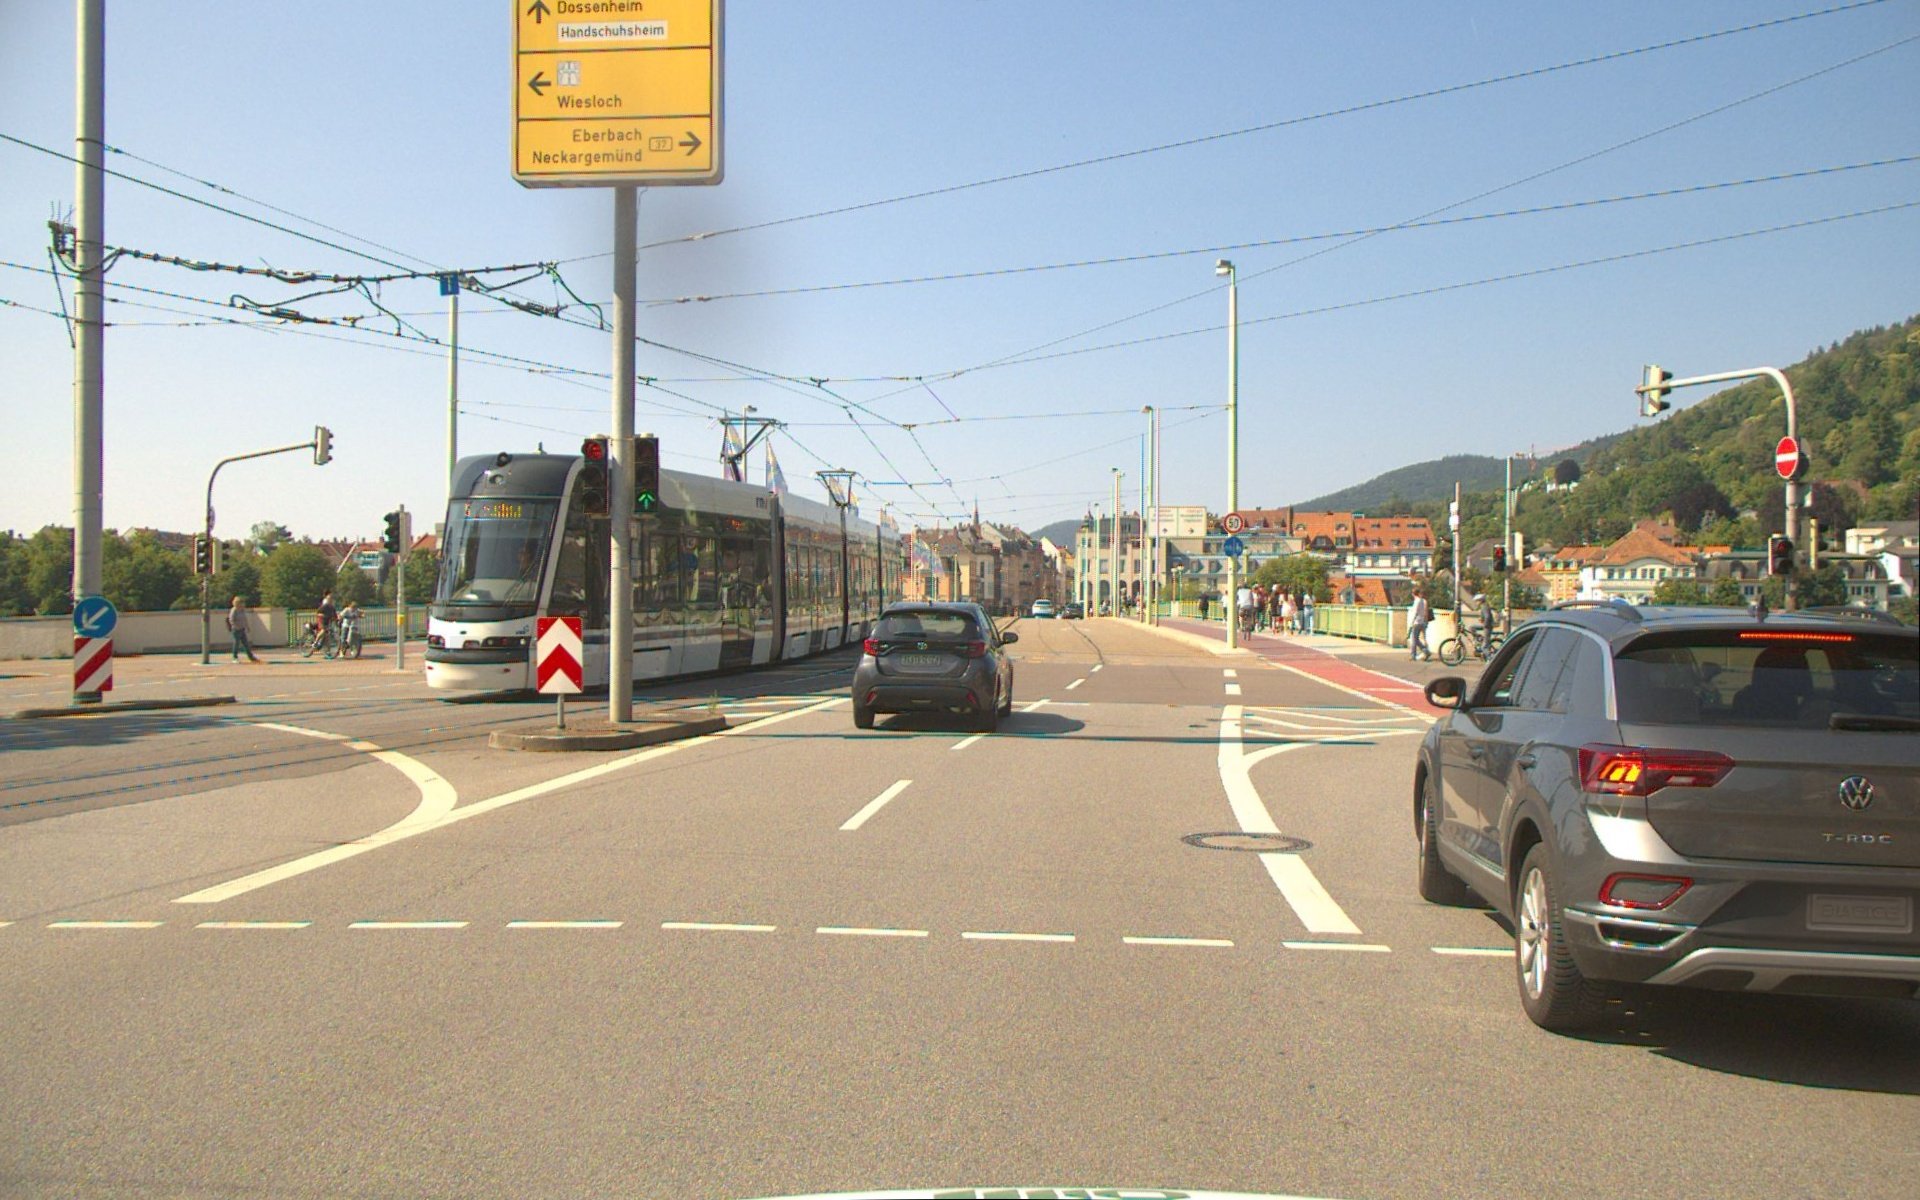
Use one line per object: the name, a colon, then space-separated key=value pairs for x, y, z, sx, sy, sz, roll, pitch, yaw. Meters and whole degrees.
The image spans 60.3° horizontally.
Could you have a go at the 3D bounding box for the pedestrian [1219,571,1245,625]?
pedestrian: x=10.459 y=-0.082 z=63.699 sx=0.787 sy=2.049 sz=0.954 roll=1 pitch=-1 yaw=-3

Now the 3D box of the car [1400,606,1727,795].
car: x=5.758 y=0.869 z=16.383 sx=1.951 sy=1.516 sz=4.287 roll=2 pitch=0 yaw=5

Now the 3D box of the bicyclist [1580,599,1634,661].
bicyclist: x=16.414 y=0.747 z=41.952 sx=1.057 sy=1.499 sz=0.929 roll=2 pitch=0 yaw=9

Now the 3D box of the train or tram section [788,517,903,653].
train or tram section: x=-3.442 y=-0.464 z=52.626 sx=2.418 sy=3.843 sz=11.853 roll=0 pitch=0 yaw=2

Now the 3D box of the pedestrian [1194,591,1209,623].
pedestrian: x=13.895 y=0.398 z=95.323 sx=0.642 sy=1.774 sz=0.977 roll=1 pitch=1 yaw=-5

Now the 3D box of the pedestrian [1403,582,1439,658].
pedestrian: x=11.623 y=0.499 z=41.700 sx=0.757 sy=1.888 sz=0.645 roll=1 pitch=0 yaw=5

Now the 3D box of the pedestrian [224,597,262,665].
pedestrian: x=-18.320 y=0.779 z=42.265 sx=0.824 sy=1.727 sz=1.088 roll=0 pitch=0 yaw=-27

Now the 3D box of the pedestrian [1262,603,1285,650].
pedestrian: x=11.346 y=0.959 z=59.901 sx=0.641 sy=1.679 sz=0.868 roll=1 pitch=-1 yaw=-1

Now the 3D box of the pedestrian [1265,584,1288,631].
pedestrian: x=11.933 y=0.272 z=62.285 sx=0.682 sy=1.746 sz=0.731 roll=1 pitch=-1 yaw=-3

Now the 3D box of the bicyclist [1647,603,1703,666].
bicyclist: x=17.807 y=0.843 z=41.230 sx=1.057 sy=1.499 sz=0.929 roll=2 pitch=0 yaw=11

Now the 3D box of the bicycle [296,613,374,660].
bicycle: x=-16.928 y=0.984 z=44.828 sx=1.939 sy=1.230 sz=0.636 roll=0 pitch=0 yaw=-20

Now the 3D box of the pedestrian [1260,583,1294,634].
pedestrian: x=11.034 y=0.299 z=57.522 sx=0.965 sy=1.781 sz=0.929 roll=1 pitch=-1 yaw=-3

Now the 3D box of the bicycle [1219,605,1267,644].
bicycle: x=9.007 y=0.756 z=52.887 sx=0.776 sy=1.115 sz=3.743 roll=-1 pitch=1 yaw=-2

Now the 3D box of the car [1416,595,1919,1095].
car: x=3.235 y=0.774 z=7.141 sx=1.888 sy=1.542 sz=3.996 roll=1 pitch=0 yaw=7

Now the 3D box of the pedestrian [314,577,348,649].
pedestrian: x=-18.253 y=0.376 z=48.043 sx=0.885 sy=2.049 sz=0.830 roll=0 pitch=0 yaw=-19

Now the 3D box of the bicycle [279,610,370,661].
bicycle: x=-16.850 y=0.930 z=43.909 sx=2.203 sy=1.301 sz=0.736 roll=0 pitch=0 yaw=-20

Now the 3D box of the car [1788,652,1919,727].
car: x=19.740 y=1.820 z=34.266 sx=4.387 sy=1.420 sz=1.844 roll=0 pitch=0 yaw=-8

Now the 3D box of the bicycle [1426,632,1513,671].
bicycle: x=12.245 y=1.237 z=39.801 sx=1.897 sy=0.841 sz=0.566 roll=2 pitch=0 yaw=7

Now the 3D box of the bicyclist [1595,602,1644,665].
bicyclist: x=16.343 y=0.818 z=40.980 sx=1.058 sy=1.499 sz=0.761 roll=2 pitch=0 yaw=26

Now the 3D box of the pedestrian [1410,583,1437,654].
pedestrian: x=11.801 y=0.474 z=42.129 sx=0.522 sy=1.791 sz=0.577 roll=1 pitch=0 yaw=5

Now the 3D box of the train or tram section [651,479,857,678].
train or tram section: x=-4.300 y=-0.455 z=36.732 sx=2.483 sy=3.843 sz=9.176 roll=0 pitch=0 yaw=6

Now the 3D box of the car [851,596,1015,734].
car: x=-0.282 y=0.737 z=20.848 sx=1.870 sy=1.567 sz=4.000 roll=0 pitch=0 yaw=1

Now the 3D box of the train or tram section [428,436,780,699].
train or tram section: x=-5.787 y=-0.499 z=28.999 sx=2.483 sy=3.843 sz=9.177 roll=0 pitch=0 yaw=12

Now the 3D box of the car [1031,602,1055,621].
car: x=6.832 y=0.928 z=136.390 sx=1.767 sy=1.495 sz=3.999 roll=-1 pitch=-1 yaw=0

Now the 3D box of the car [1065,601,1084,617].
car: x=11.292 y=0.914 z=163.281 sx=1.766 sy=1.495 sz=4.002 roll=-1 pitch=-1 yaw=5

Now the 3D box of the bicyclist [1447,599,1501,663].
bicyclist: x=12.363 y=0.733 z=39.791 sx=1.057 sy=1.499 sz=0.801 roll=2 pitch=0 yaw=7

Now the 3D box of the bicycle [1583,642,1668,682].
bicycle: x=16.460 y=1.523 z=40.937 sx=1.901 sy=0.868 sz=0.565 roll=2 pitch=0 yaw=26

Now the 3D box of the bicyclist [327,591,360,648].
bicyclist: x=-16.731 y=0.515 z=44.895 sx=0.811 sy=1.519 sz=0.871 roll=0 pitch=0 yaw=-19

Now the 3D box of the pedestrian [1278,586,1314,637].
pedestrian: x=12.081 y=0.420 z=59.462 sx=0.965 sy=1.800 sz=1.253 roll=0 pitch=0 yaw=-3

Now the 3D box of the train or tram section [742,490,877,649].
train or tram section: x=-3.794 y=-0.748 z=43.792 sx=2.354 sy=3.745 sz=9.622 roll=0 pitch=0 yaw=2

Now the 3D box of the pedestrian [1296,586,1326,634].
pedestrian: x=12.151 y=0.342 z=57.320 sx=0.783 sy=1.663 sz=0.949 roll=0 pitch=-1 yaw=-3

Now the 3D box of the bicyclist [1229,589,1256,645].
bicyclist: x=9.024 y=0.537 z=52.864 sx=0.659 sy=1.774 sz=1.150 roll=0 pitch=-1 yaw=-2

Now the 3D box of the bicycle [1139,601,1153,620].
bicycle: x=12.511 y=0.695 z=111.209 sx=0.681 sy=1.214 sz=2.078 roll=0 pitch=-1 yaw=-1

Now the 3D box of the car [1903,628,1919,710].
car: x=20.331 y=1.373 z=31.003 sx=4.387 sy=1.532 sz=1.844 roll=2 pitch=0 yaw=-8

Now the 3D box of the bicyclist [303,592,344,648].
bicyclist: x=-16.899 y=0.522 z=43.917 sx=0.988 sy=1.474 sz=0.811 roll=0 pitch=0 yaw=-19

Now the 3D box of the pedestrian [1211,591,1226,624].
pedestrian: x=12.455 y=0.362 z=79.585 sx=0.636 sy=1.590 sz=0.692 roll=-1 pitch=0 yaw=2

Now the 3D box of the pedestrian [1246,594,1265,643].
pedestrian: x=11.097 y=0.700 z=62.087 sx=0.538 sy=1.830 sz=0.645 roll=1 pitch=-1 yaw=-3
